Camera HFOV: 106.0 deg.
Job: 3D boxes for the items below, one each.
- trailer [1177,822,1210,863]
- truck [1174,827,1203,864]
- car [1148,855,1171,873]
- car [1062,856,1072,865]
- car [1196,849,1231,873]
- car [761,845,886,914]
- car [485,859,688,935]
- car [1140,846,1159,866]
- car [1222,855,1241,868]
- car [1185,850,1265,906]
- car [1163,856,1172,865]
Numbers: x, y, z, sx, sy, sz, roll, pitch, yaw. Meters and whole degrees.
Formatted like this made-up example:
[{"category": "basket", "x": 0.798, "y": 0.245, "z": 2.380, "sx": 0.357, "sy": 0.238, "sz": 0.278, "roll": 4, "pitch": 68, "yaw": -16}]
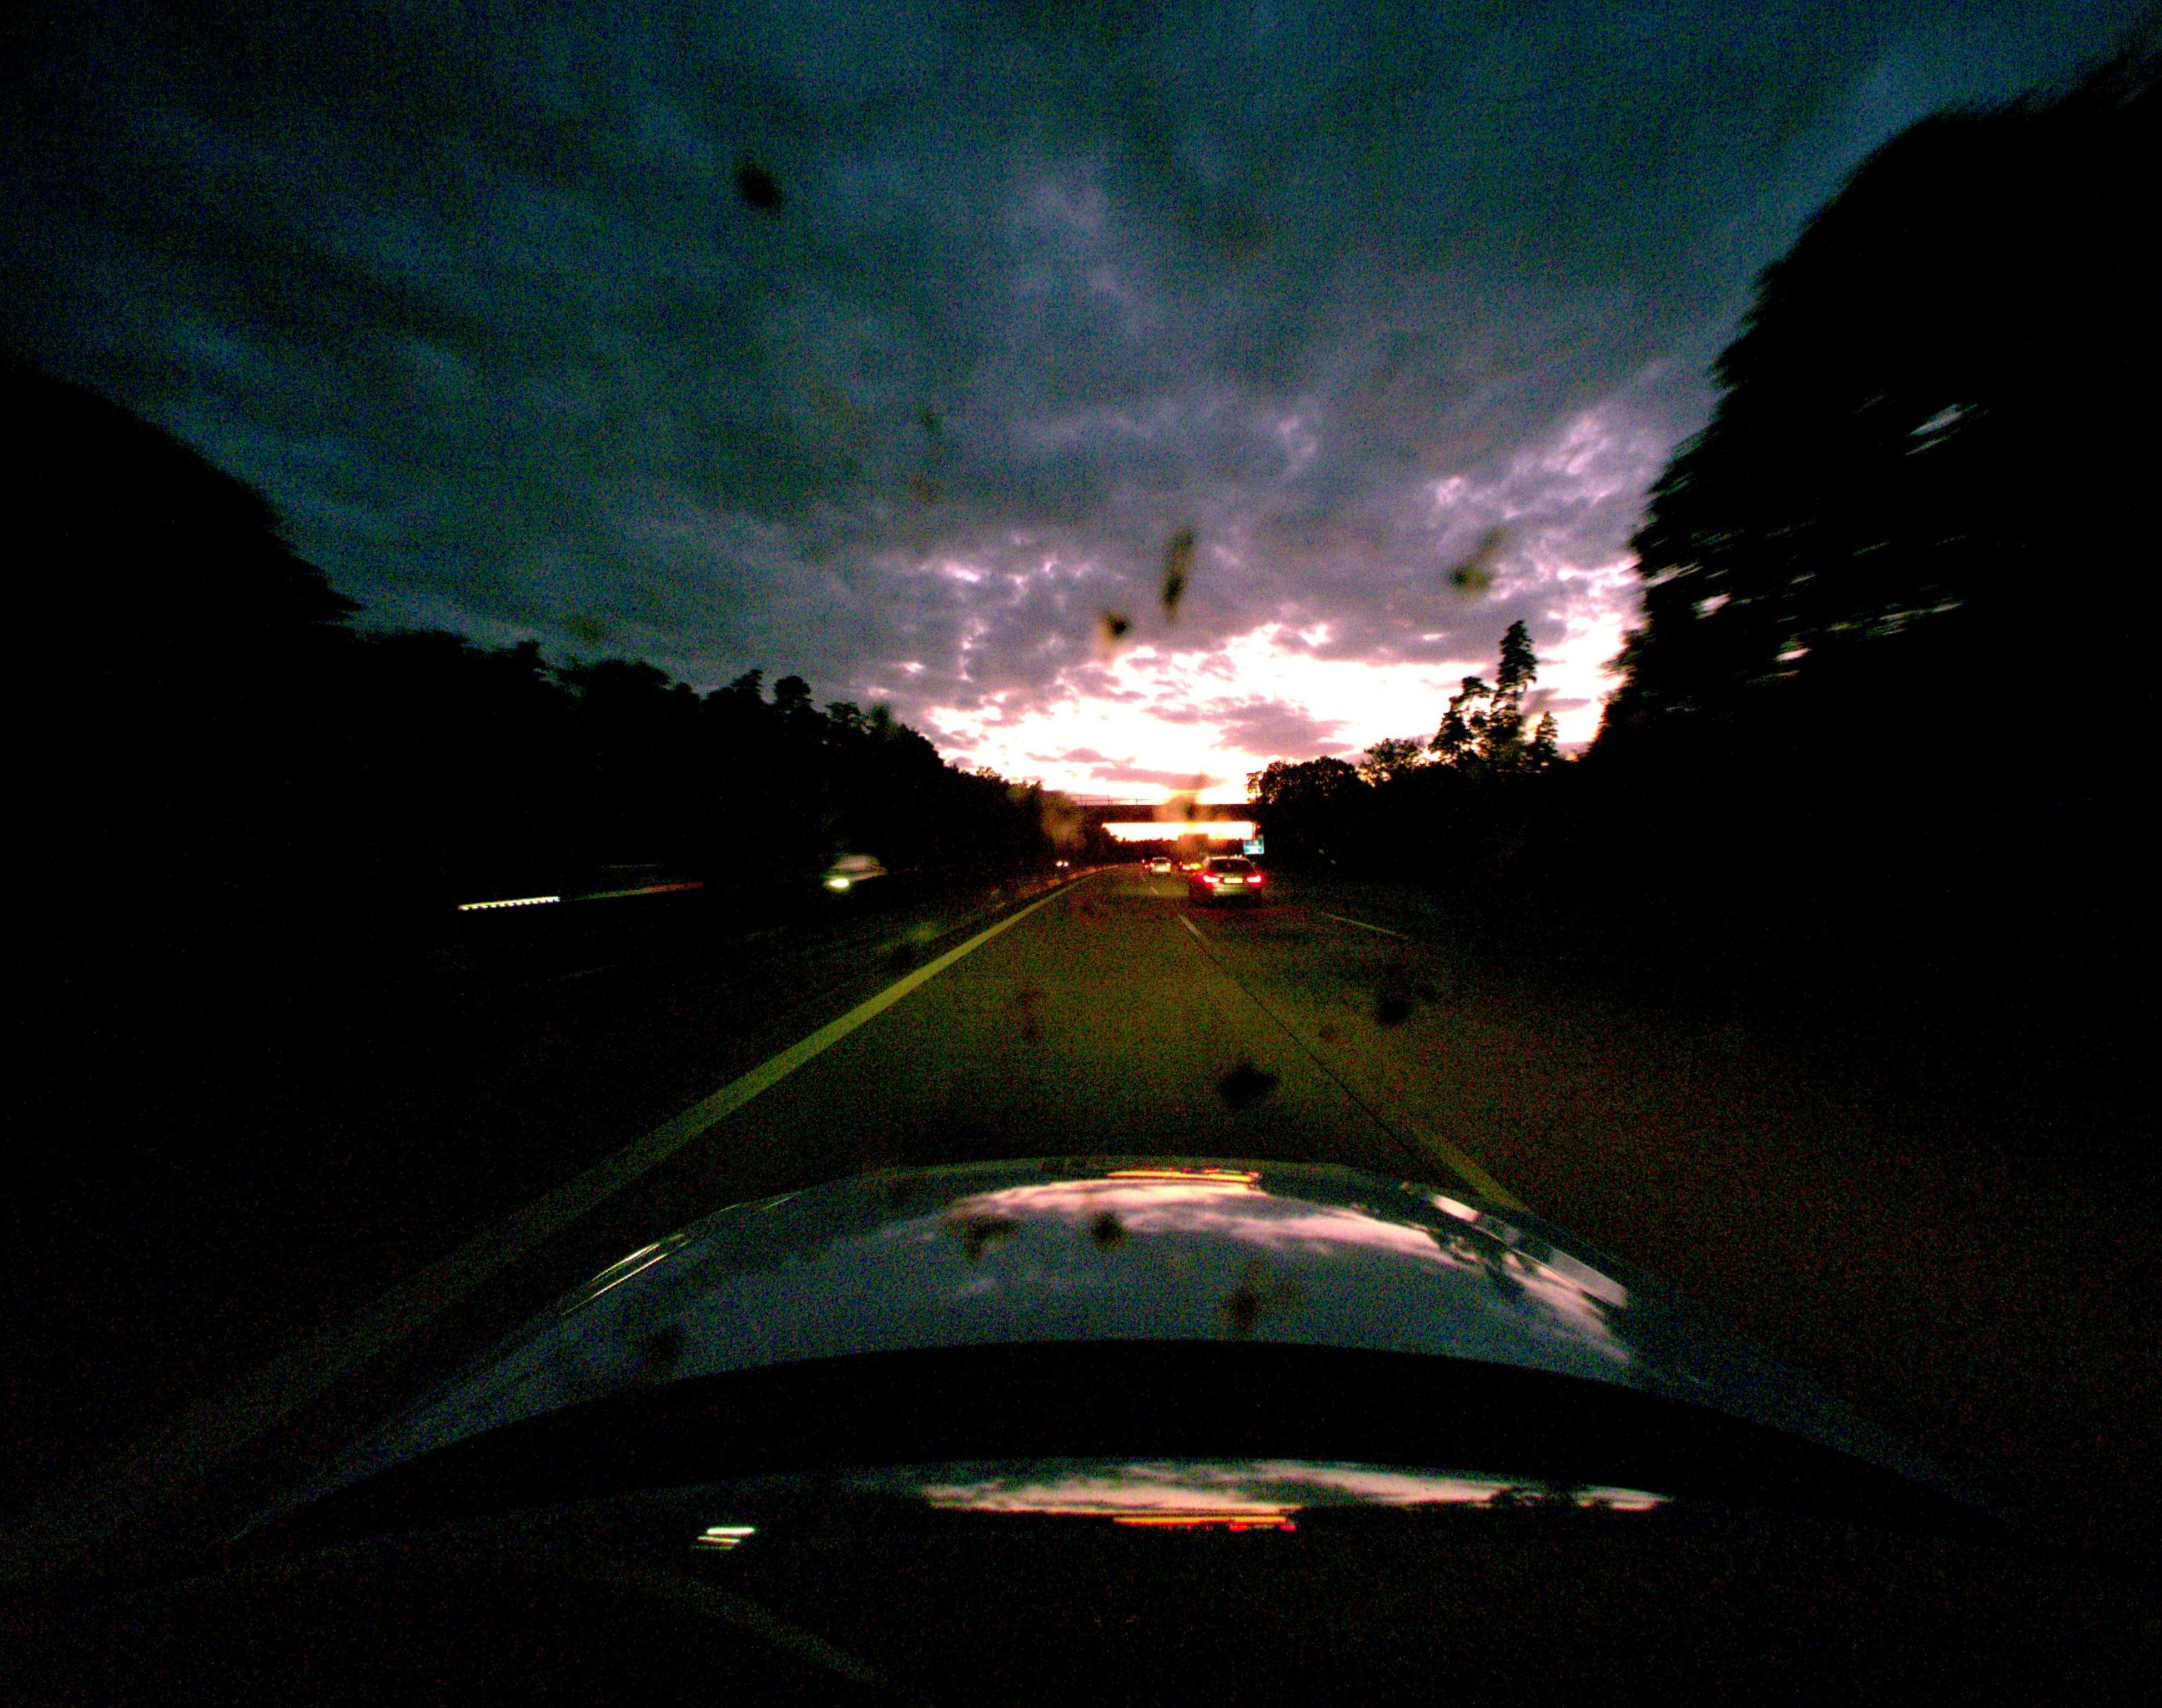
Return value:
[{"category": "trailer", "x": 12.081, "y": -1.086, "z": 88.201, "sx": 2.894, "sy": 4.101, "sz": 10.369, "roll": -1, "pitch": -1, "yaw": 5}, {"category": "truck", "x": 12.926, "y": -0.882, "z": 98.739, "sx": 2.871, "sy": 4.101, "sz": 10.844, "roll": -1, "pitch": -1, "yaw": 5}, {"category": "car", "x": 6.698, "y": 0.850, "z": 69.629, "sx": 1.851, "sy": 1.442, "sz": 3.724, "roll": -1, "pitch": 1, "yaw": 3}, {"category": "car", "x": -2.809, "y": 1.303, "z": 165.161, "sx": 1.803, "sy": 1.520, "sz": 4.434, "roll": -1, "pitch": 1, "yaw": 4}, {"category": "car", "x": 9.327, "y": 0.491, "z": 57.629, "sx": 1.894, "sy": 1.643, "sz": 5.057, "roll": -1, "pitch": 0, "yaw": 4}, {"category": "car", "x": -7.443, "y": 0.659, "z": 24.106, "sx": 1.986, "sy": 1.797, "sz": 4.833, "roll": -1, "pitch": 1, "yaw": 2}, {"category": "car", "x": -11.268, "y": 0.900, "z": 18.998, "sx": 1.868, "sy": 1.443, "sz": 4.453, "roll": -1, "pitch": 1, "yaw": 2}, {"category": "car", "x": 8.728, "y": 0.319, "z": 104.377, "sx": 2.157, "sy": 2.419, "sz": 5.567, "roll": -1, "pitch": -1, "yaw": 3}, {"category": "car", "x": 17.215, "y": 0.855, "z": 93.240, "sx": 1.850, "sy": 1.442, "sz": 4.117, "roll": -1, "pitch": -1, "yaw": 5}, {"category": "car", "x": 4.444, "y": 0.665, "z": 25.822, "sx": 1.901, "sy": 1.537, "sz": 5.236, "roll": -1, "pitch": 1, "yaw": 3}, {"category": "car", "x": 23.149, "y": 1.698, "z": 217.611, "sx": 2.156, "sy": 2.419, "sz": 5.568, "roll": -1, "pitch": -1, "yaw": 4}]
